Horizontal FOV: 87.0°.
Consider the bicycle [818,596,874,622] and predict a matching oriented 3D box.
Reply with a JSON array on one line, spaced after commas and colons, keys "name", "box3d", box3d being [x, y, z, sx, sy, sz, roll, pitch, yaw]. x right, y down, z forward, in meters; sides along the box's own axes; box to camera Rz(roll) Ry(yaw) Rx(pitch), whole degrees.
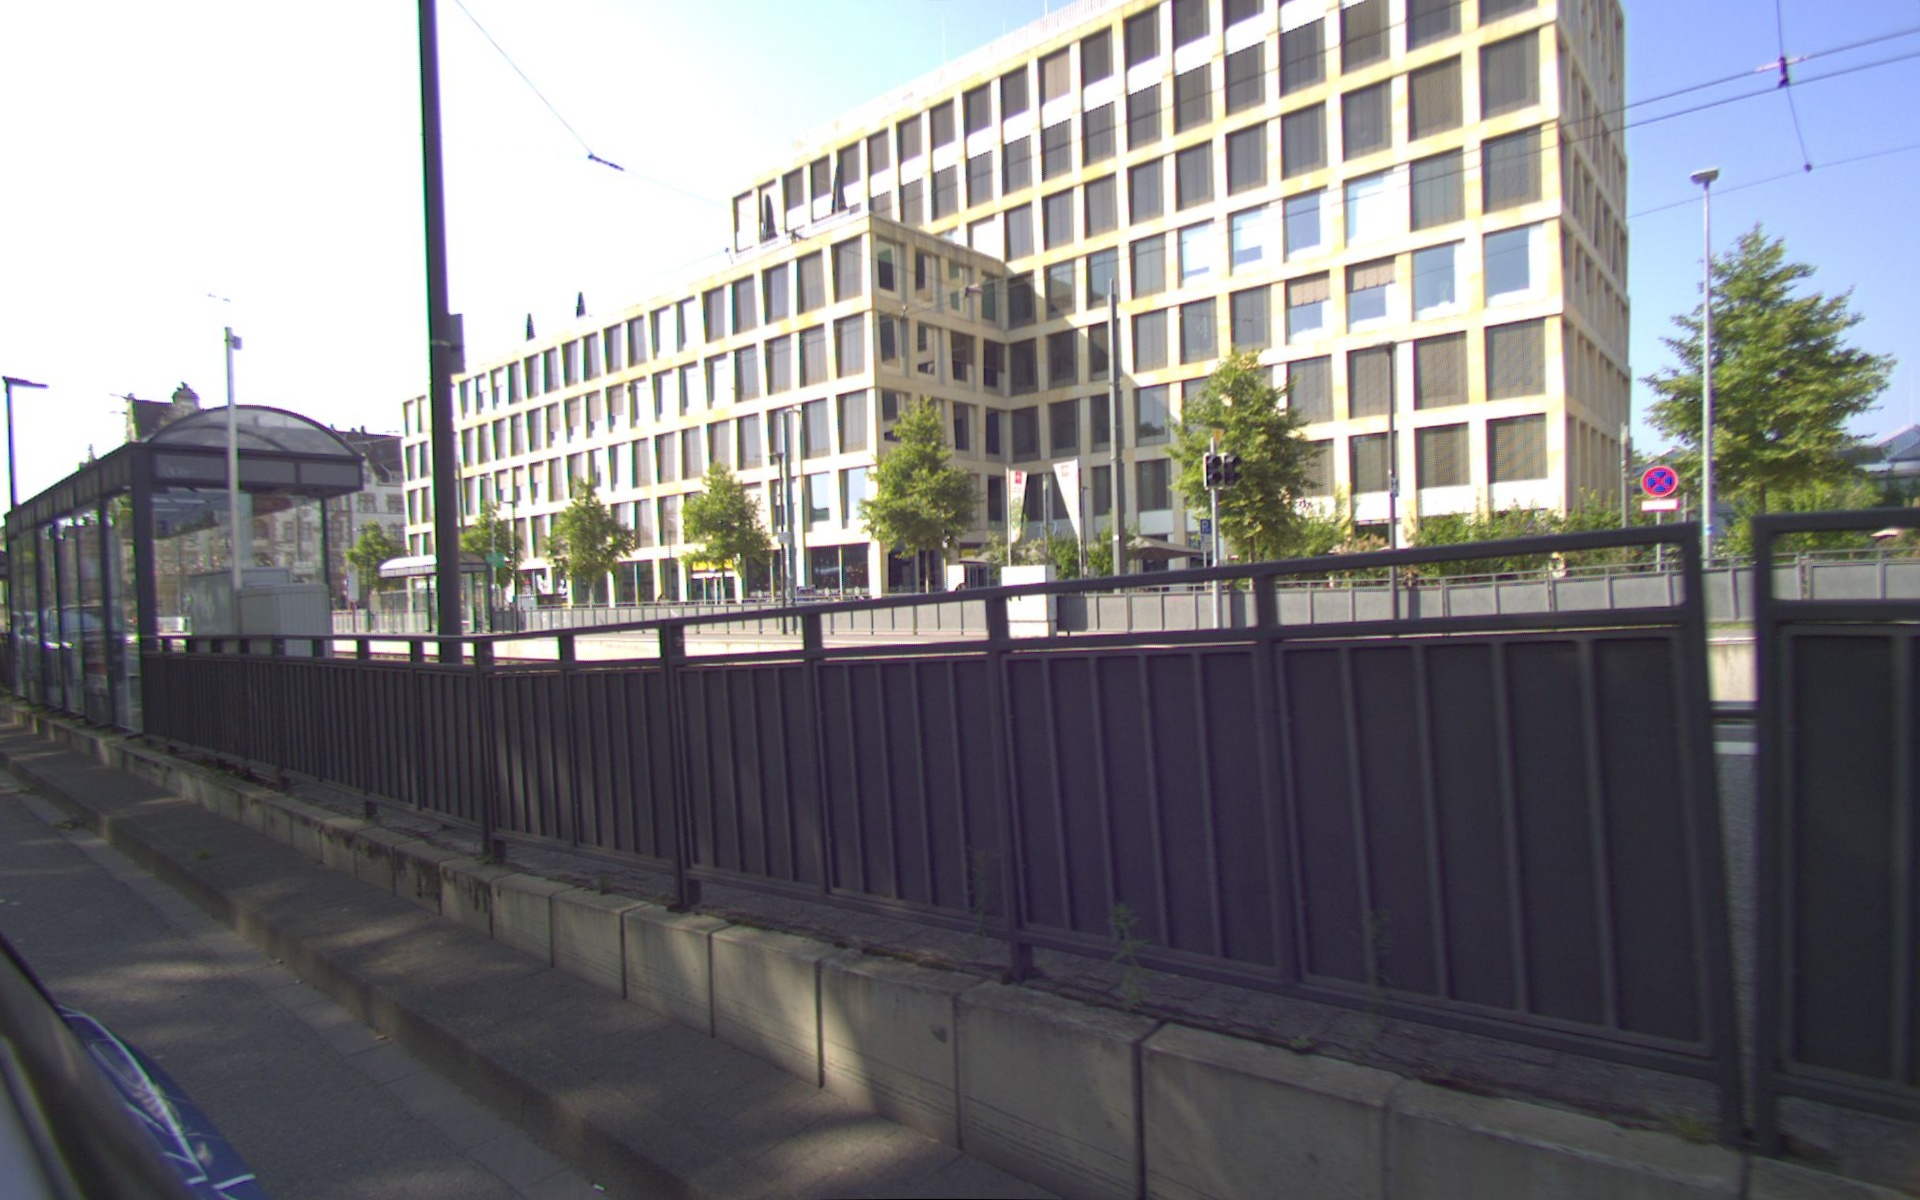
[{"name": "bicycle", "box3d": [-4.764, 0.371, 42.443, 0.821, 0.993, 2.409, -2, 0, 39]}]

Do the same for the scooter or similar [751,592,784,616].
[{"name": "scooter or similar", "box3d": [-8.397, 0.158, 44.218, 0.395, 0.993, 1.507, -2, 0, 39]}]

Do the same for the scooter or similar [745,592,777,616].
[{"name": "scooter or similar", "box3d": [-8.790, 0.185, 44.692, 0.371, 0.993, 1.486, -2, 0, 39]}]

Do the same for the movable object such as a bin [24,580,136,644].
[{"name": "movable object such as a bin", "box3d": [-61.039, 0.833, 70.515, 3.454, 4.043, 9.070, -2, 0, -26]}]

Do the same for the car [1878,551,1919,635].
[{"name": "car", "box3d": [17.541, -0.175, 16.117, 4.220, 1.387, 1.625, -2, 0, 41]}]
